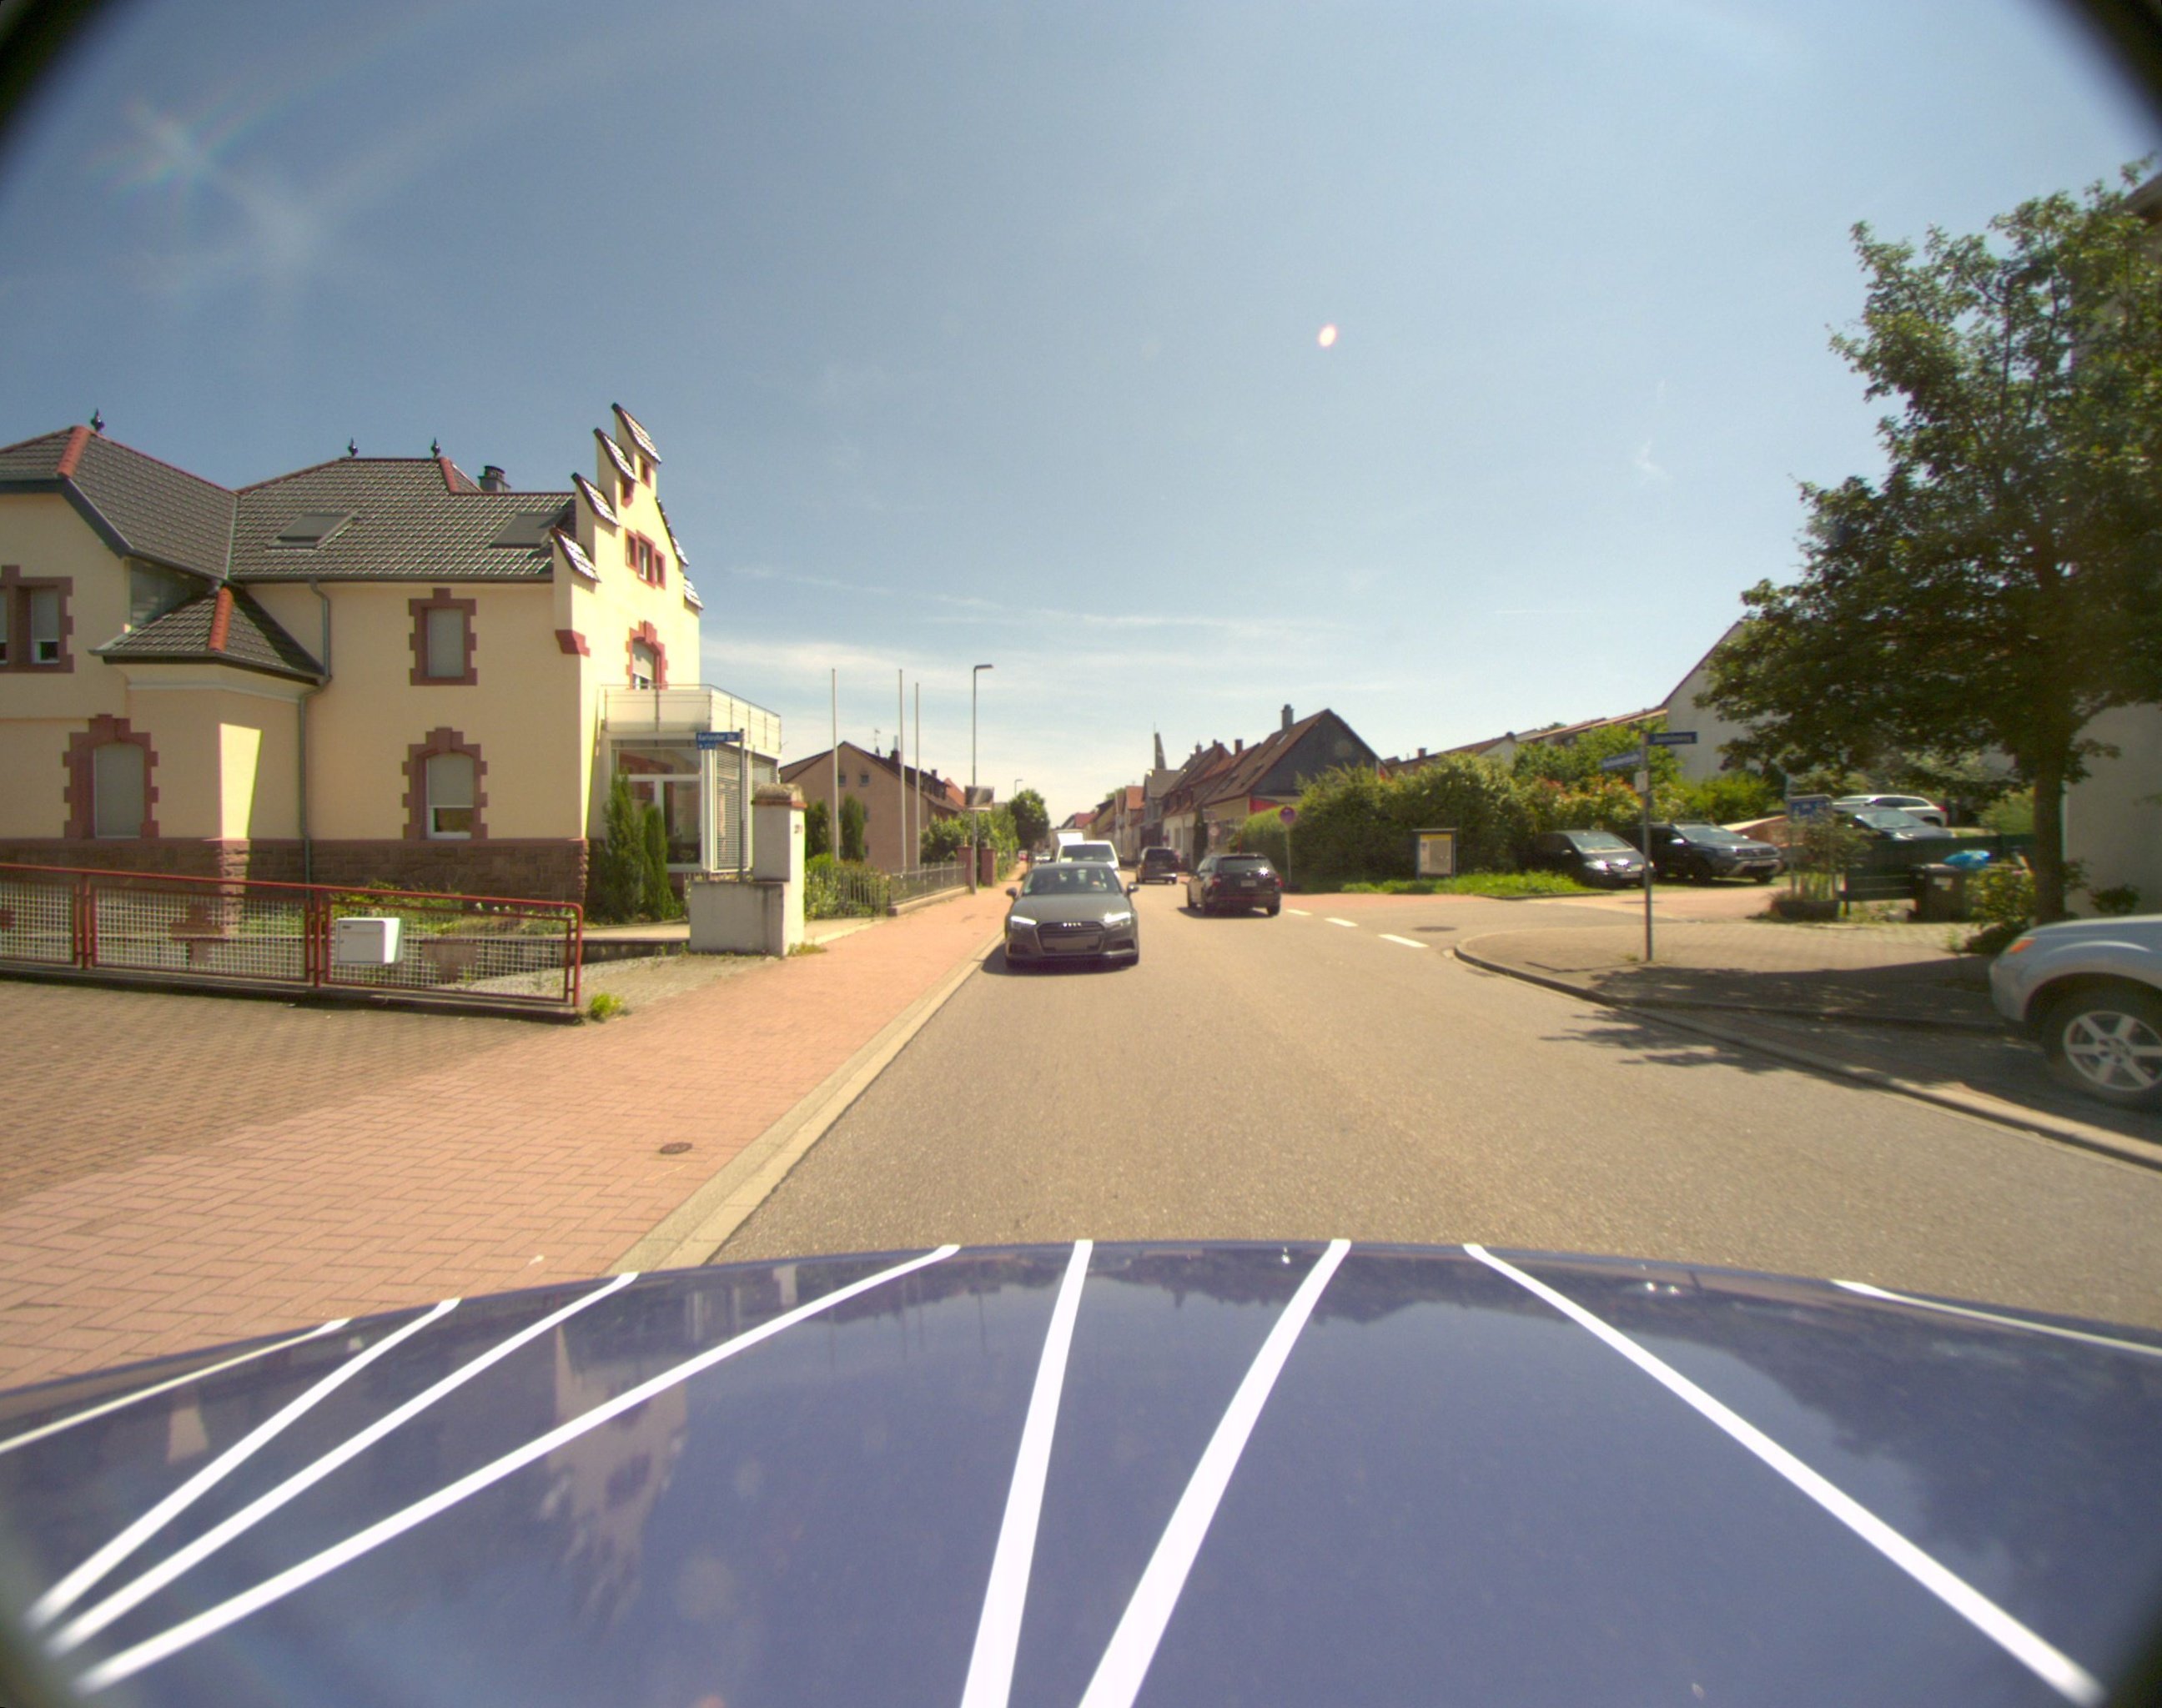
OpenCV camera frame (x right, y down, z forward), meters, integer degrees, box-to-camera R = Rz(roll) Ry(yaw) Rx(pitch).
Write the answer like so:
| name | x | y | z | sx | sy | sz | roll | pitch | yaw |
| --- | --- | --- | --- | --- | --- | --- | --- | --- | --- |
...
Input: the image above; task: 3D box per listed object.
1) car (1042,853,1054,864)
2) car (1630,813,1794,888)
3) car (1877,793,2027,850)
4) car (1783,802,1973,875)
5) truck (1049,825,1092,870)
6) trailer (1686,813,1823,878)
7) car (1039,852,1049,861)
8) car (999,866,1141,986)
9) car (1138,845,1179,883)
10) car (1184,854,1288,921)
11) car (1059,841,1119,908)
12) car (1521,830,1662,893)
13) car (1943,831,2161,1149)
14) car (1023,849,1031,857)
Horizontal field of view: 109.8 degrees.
| name | x | y | z | sx | sy | sz | roll | pitch | yaw |
| --- | --- | --- | --- | --- | --- | --- | --- | --- | --- |
| car | -4.903 | 0.689 | 112.805 | 1.508 | 1.432 | 3.534 | -3 | 1 | -5 |
| car | 17.020 | -0.105 | 20.710 | 1.627 | 1.769 | 3.511 | -3 | 1 | 3 |
| car | 30.013 | -1.103 | 26.241 | 3.639 | 1.724 | 1.420 | -3 | 1 | -2 |
| car | 21.949 | -0.423 | 21.139 | 1.627 | 1.771 | 3.551 | -3 | 1 | 3 |
| truck | -1.124 | -0.544 | 66.425 | 2.899 | 3.516 | 12.947 | -1 | 0 | -5 |
| trailer | 19.530 | -0.237 | 22.164 | 1.430 | 1.654 | 2.691 | -5 | 1 | -4 |
| car | -6.318 | 0.469 | 128.153 | 1.508 | 1.432 | 3.534 | -3 | 1 | -5 |
| car | -0.148 | 0.922 | 11.366 | 1.705 | 1.346 | 3.999 | -2 | 0 | -1 |
| car | 3.885 | 0.466 | 38.674 | 1.660 | 1.844 | 4.464 | 1 | 0 | 0 |
| car | 3.676 | 0.727 | 18.729 | 1.723 | 1.438 | 4.255 | 0 | 0 | 1 |
| car | 0.169 | 0.551 | 22.789 | 1.637 | 1.833 | 3.569 | -1 | 1 | -2 |
| car | 14.266 | 0.160 | 21.475 | 1.627 | 1.532 | 3.652 | -3 | 1 | 3 |
| car | 6.586 | 0.715 | 2.781 | 1.710 | 1.677 | 4.525 | -2 | 0 | 0 |
| car | -11.282 | -0.237 | 158.768 | 1.637 | 1.572 | 3.568 | 1 | 0 | -5 |
